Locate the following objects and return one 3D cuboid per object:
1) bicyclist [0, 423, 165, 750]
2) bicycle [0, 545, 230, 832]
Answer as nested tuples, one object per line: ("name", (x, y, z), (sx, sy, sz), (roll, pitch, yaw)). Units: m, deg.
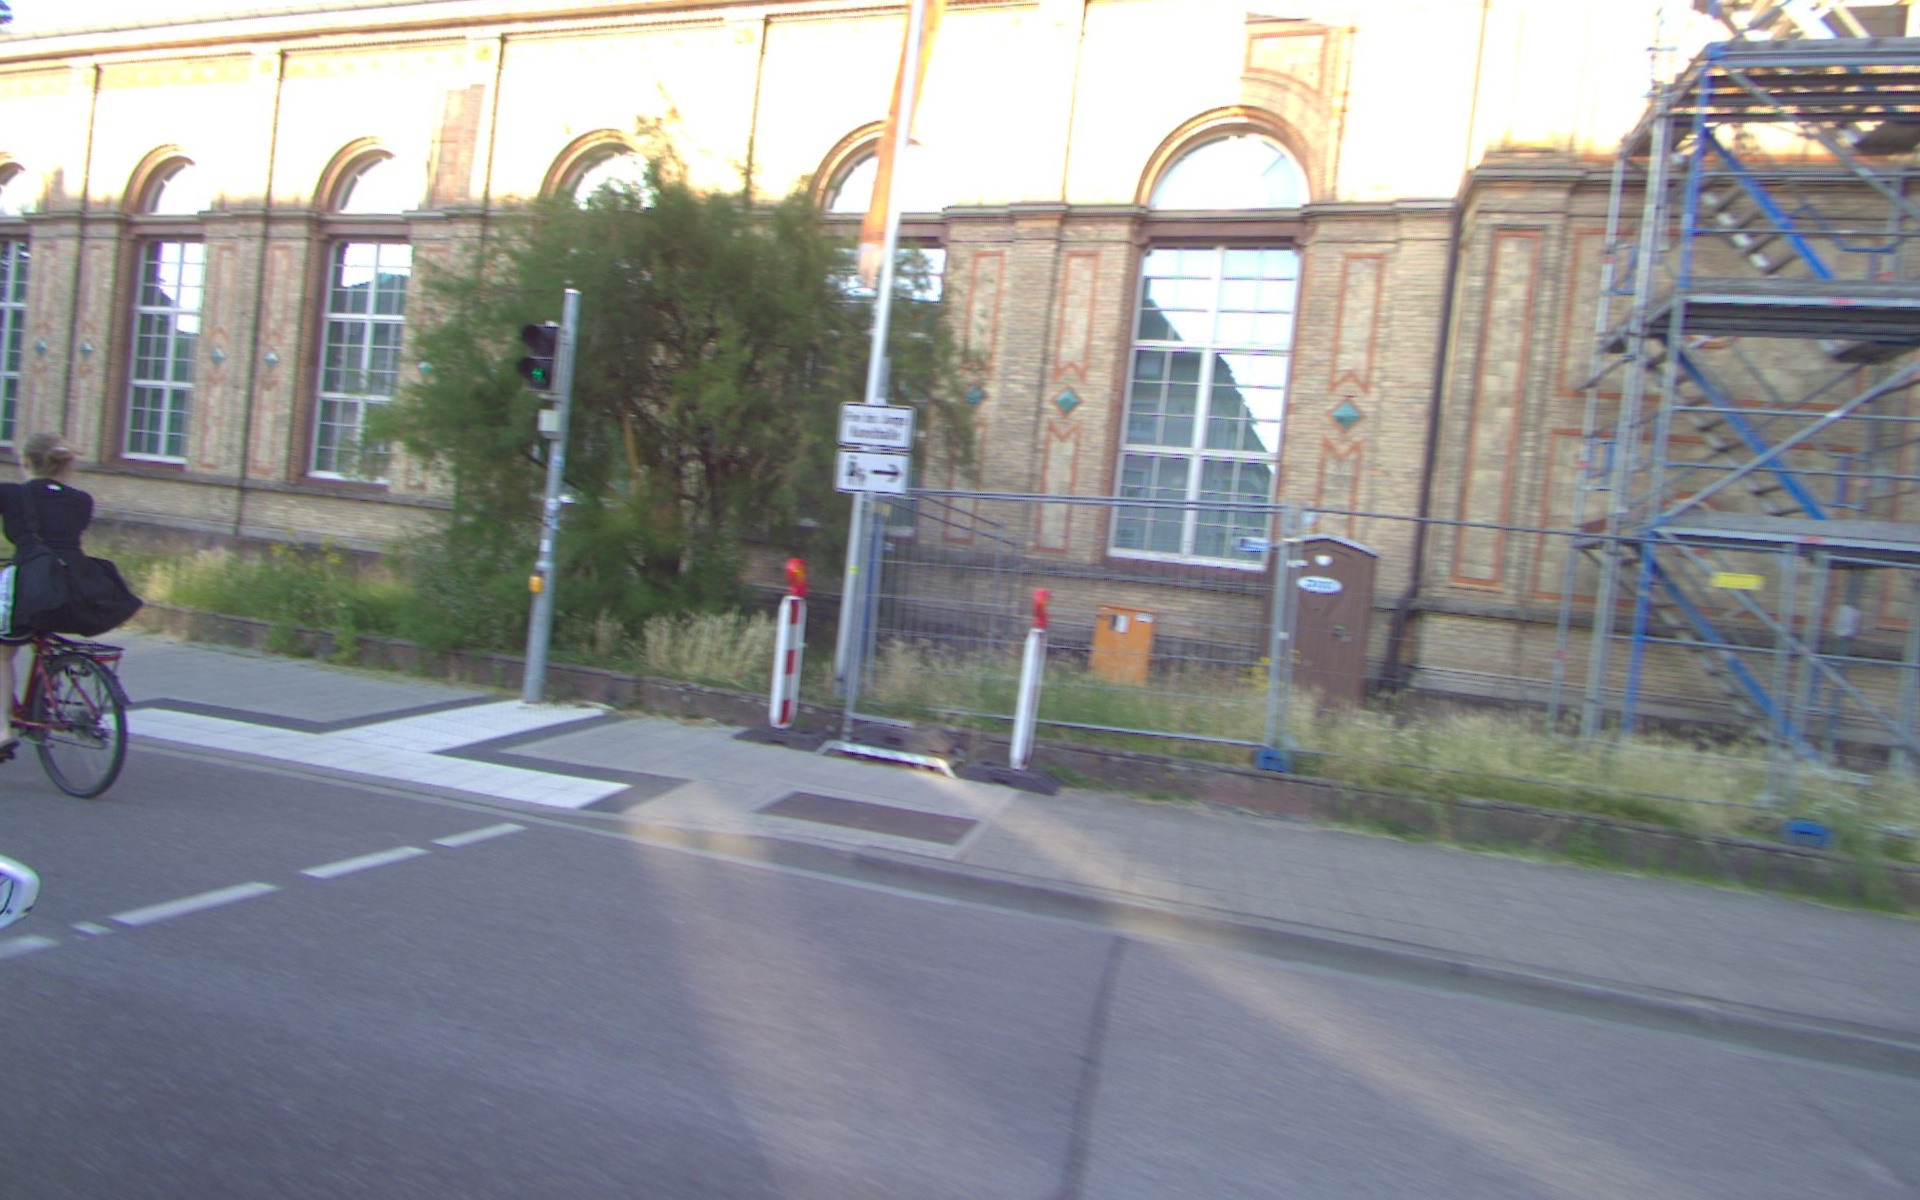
("bicyclist", (-4.763, -0.081, 5.090), (0.835, 1.521, 0.718), (7, 0, 20))
("bicycle", (-4.809, 0.347, 5.083), (2.030, 1.170, 0.714), (7, 0, 20))
